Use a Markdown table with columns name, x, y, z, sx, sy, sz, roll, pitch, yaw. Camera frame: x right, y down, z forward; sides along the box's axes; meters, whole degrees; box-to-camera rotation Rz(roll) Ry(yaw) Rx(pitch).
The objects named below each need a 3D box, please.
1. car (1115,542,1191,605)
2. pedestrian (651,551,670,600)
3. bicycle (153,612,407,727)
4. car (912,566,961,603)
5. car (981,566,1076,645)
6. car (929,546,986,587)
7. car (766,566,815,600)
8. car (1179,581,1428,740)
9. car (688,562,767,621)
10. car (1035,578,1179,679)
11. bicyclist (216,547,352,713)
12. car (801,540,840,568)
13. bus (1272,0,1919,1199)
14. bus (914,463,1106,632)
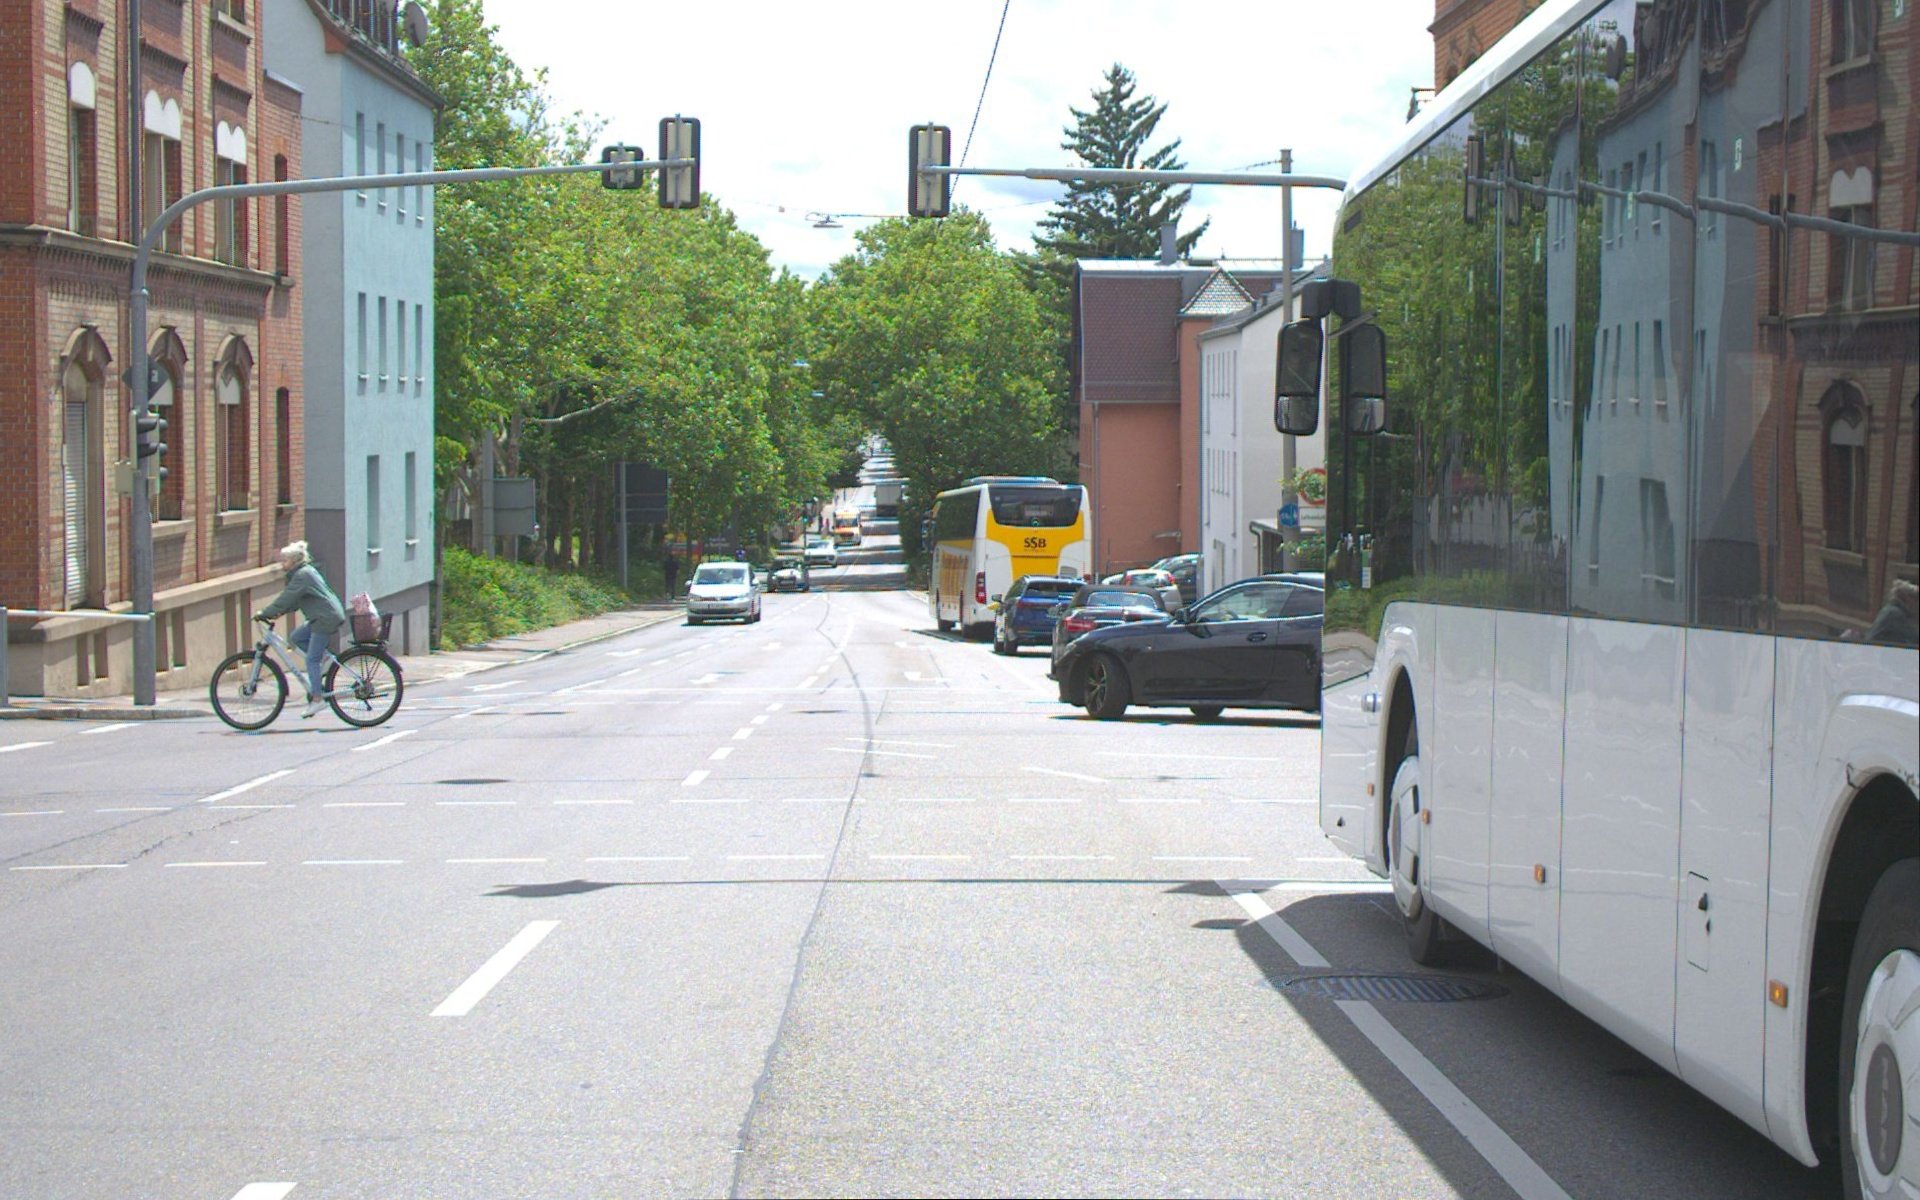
| name | x | y | z | sx | sy | sz | roll | pitch | yaw |
| --- | --- | --- | --- | --- | --- | --- | --- | --- | --- |
| car | 5.209 | -0.746 | 93.307 | 1.767 | 1.660 | 4.000 | -1 | 1 | -1 |
| pedestrian | -10.786 | -0.886 | 123.815 | 0.606 | 1.752 | 0.654 | -1 | 1 | -2 |
| bicycle | -6.221 | 0.638 | 31.487 | 2.186 | 1.016 | 0.606 | 0 | 1 | 8 |
| car | -1.006 | -0.675 | 146.408 | 1.879 | 1.487 | 4.001 | -1 | 1 | -3 |
| car | 1.241 | 0.086 | 63.434 | 1.608 | 1.371 | 4.000 | 0 | 1 | -1 |
| car | -0.109 | -1.285 | 129.386 | 1.879 | 1.487 | 4.001 | -1 | 1 | -3 |
| car | -7.138 | -0.726 | 145.199 | 1.865 | 1.363 | 4.547 | -1 | 1 | -1 |
| car | 3.030 | 0.500 | 31.050 | 1.797 | 1.271 | 4.000 | -1 | 1 | -1 |
| car | -6.413 | -0.253 | 95.344 | 1.935 | 1.558 | 4.389 | -1 | 1 | -1 |
| car | 2.116 | 0.388 | 50.571 | 1.865 | 1.363 | 4.547 | -1 | 1 | -1 |
| bicyclist | -6.188 | 0.272 | 31.478 | 1.072 | 1.494 | 0.590 | -1 | 1 | 8 |
| car | -8.356 | -2.759 | 206.074 | 2.207 | 1.607 | 4.547 | -1 | 1 | -1 |
| bus | 2.957 | -0.239 | 9.255 | 2.904 | 3.498 | 12.488 | 1 | 1 | -1 |
| bus | 1.013 | -1.222 | 79.935 | 3.300 | 3.618 | 11.246 | -1 | 1 | -5 |
